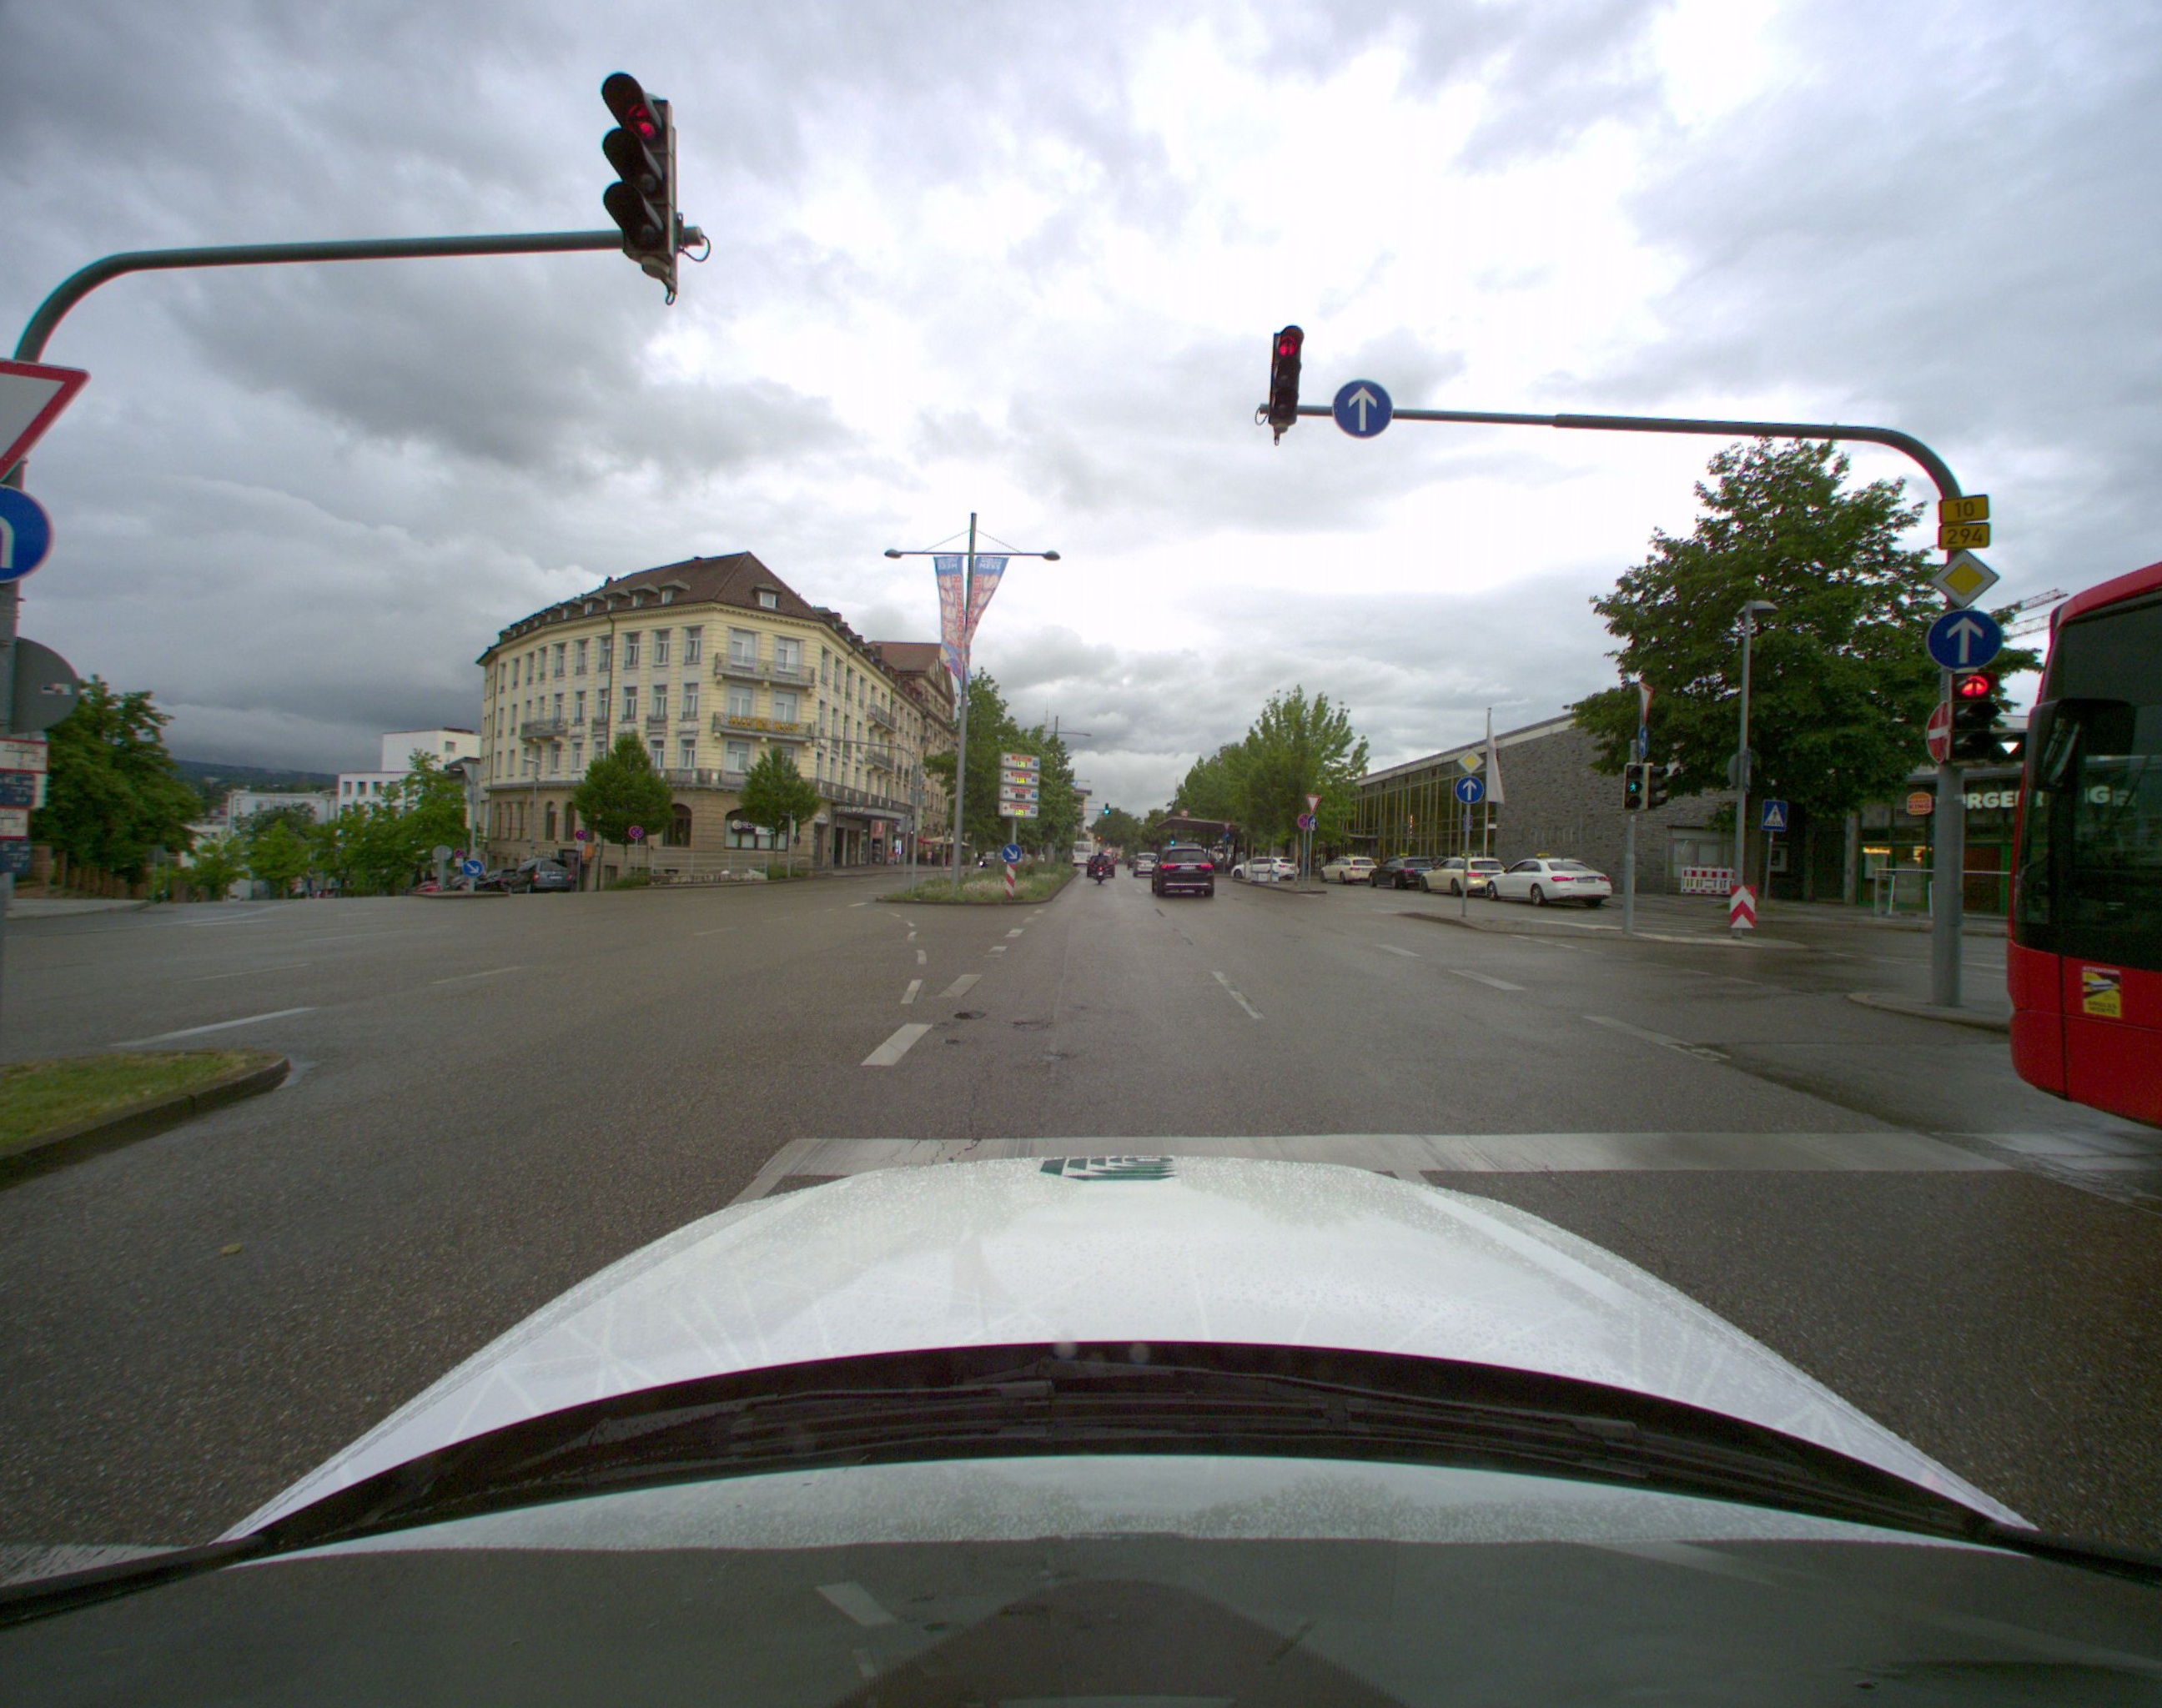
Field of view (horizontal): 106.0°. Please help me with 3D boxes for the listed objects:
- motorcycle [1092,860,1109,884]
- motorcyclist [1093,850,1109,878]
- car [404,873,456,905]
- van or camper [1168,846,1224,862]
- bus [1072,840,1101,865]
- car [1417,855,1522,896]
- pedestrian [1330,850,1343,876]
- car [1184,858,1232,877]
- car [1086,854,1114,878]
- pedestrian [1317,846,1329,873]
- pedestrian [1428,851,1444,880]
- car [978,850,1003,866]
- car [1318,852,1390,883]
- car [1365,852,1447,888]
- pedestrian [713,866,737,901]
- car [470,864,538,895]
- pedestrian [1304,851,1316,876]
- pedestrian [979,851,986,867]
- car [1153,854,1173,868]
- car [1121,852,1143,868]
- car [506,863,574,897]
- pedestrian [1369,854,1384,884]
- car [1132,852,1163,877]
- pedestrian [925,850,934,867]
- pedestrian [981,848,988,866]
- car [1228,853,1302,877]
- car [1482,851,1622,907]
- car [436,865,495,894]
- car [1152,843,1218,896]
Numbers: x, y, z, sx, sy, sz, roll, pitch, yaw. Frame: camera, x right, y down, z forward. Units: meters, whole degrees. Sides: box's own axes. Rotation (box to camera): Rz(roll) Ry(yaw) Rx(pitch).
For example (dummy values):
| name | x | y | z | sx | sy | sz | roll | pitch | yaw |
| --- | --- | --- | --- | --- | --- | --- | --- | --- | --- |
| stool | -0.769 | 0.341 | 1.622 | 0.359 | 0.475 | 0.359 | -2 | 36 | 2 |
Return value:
| name | x | y | z | sx | sy | sz | roll | pitch | yaw |
| --- | --- | --- | --- | --- | --- | --- | --- | --- | --- |
| motorcycle | 0.956 | 0.850 | 39.274 | 0.763 | 1.077 | 2.176 | 0 | 0 | 2 |
| motorcyclist | 0.954 | 0.464 | 39.484 | 0.761 | 1.331 | 0.867 | 0 | 0 | 2 |
| car | -41.191 | 2.181 | 51.495 | 3.575 | 1.812 | 1.788 | 0 | 0 | 38 |
| van or camper | 14.501 | 0.036 | 102.816 | 6.787 | 2.014 | 2.366 | 0 | -1 | -25 |
| bus | 0.757 | -0.171 | 111.155 | 3.748 | 3.209 | 15.524 | 0 | 0 | 0 |
| car | 14.780 | 0.778 | 31.309 | 1.840 | 1.452 | 4.666 | 0 | 0 | 0 |
| pedestrian | 19.802 | 0.711 | 63.194 | 0.767 | 2.014 | 0.828 | 0 | 0 | 0 |
| car | 12.822 | 1.349 | 82.135 | 4.348 | 1.857 | 1.988 | 0 | 0 | -18 |
| car | 1.219 | 0.731 | 51.875 | 1.702 | 1.448 | 4.002 | 0 | 0 | 2 |
| pedestrian | 21.777 | 0.519 | 73.299 | 0.839 | 2.411 | 0.863 | 0 | 0 | 3 |
| pedestrian | 20.470 | 0.673 | 46.950 | 0.563 | 1.646 | 0.715 | 0 | 0 | -3 |
| car | -8.636 | 0.380 | 77.776 | 1.764 | 1.530 | 4.080 | 0 | 0 | 2 |
| car | 14.678 | 0.698 | 44.092 | 1.990 | 1.600 | 4.814 | 0 | 0 | -5 |
| car | 14.880 | 0.699 | 37.598 | 1.907 | 1.524 | 4.741 | 0 | 0 | 0 |
| pedestrian | -19.579 | 1.611 | 44.797 | 0.860 | 1.878 | 1.023 | 0 | 0 | 1 |
| car | -31.973 | 1.393 | 45.112 | 3.948 | 1.640 | 2.013 | -1 | -1 | 37 |
| pedestrian | 18.902 | 0.756 | 67.155 | 0.767 | 2.014 | 0.828 | 0 | 0 | 0 |
| pedestrian | -10.760 | 0.557 | 89.308 | 0.672 | 1.701 | 0.634 | 0 | 0 | 1 |
| car | 8.560 | 0.718 | 85.373 | 1.809 | 1.530 | 4.001 | 0 | 0 | 2 |
| car | 5.108 | 0.607 | 82.052 | 1.805 | 1.581 | 3.901 | 0 | 0 | -1 |
| car | -27.105 | 1.251 | 40.771 | 3.949 | 1.568 | 1.812 | 0 | 0 | 41 |
| pedestrian | 17.156 | 0.861 | 47.254 | 0.563 | 1.710 | 0.715 | 0 | 0 | -3 |
| car | 4.356 | 0.658 | 54.057 | 1.844 | 1.567 | 4.002 | 0 | 0 | 2 |
| pedestrian | -13.720 | 0.438 | 73.640 | 0.666 | 1.510 | 0.513 | 0 | 0 | -36 |
| pedestrian | -10.575 | 0.349 | 89.101 | 0.756 | 2.014 | 0.832 | 0 | 0 | -5 |
| car | 11.458 | 0.696 | 50.883 | 1.788 | 1.385 | 4.318 | 3 | -2 | -39 |
| car | 14.641 | 0.715 | 25.652 | 1.768 | 1.589 | 4.615 | 0 | 0 | 0 |
| car | -36.315 | 1.467 | 48.035 | 3.864 | 1.640 | 1.805 | 0 | 0 | 37 |
| car | 3.762 | 0.535 | 30.266 | 1.986 | 1.806 | 4.691 | 0 | 0 | 2 |
